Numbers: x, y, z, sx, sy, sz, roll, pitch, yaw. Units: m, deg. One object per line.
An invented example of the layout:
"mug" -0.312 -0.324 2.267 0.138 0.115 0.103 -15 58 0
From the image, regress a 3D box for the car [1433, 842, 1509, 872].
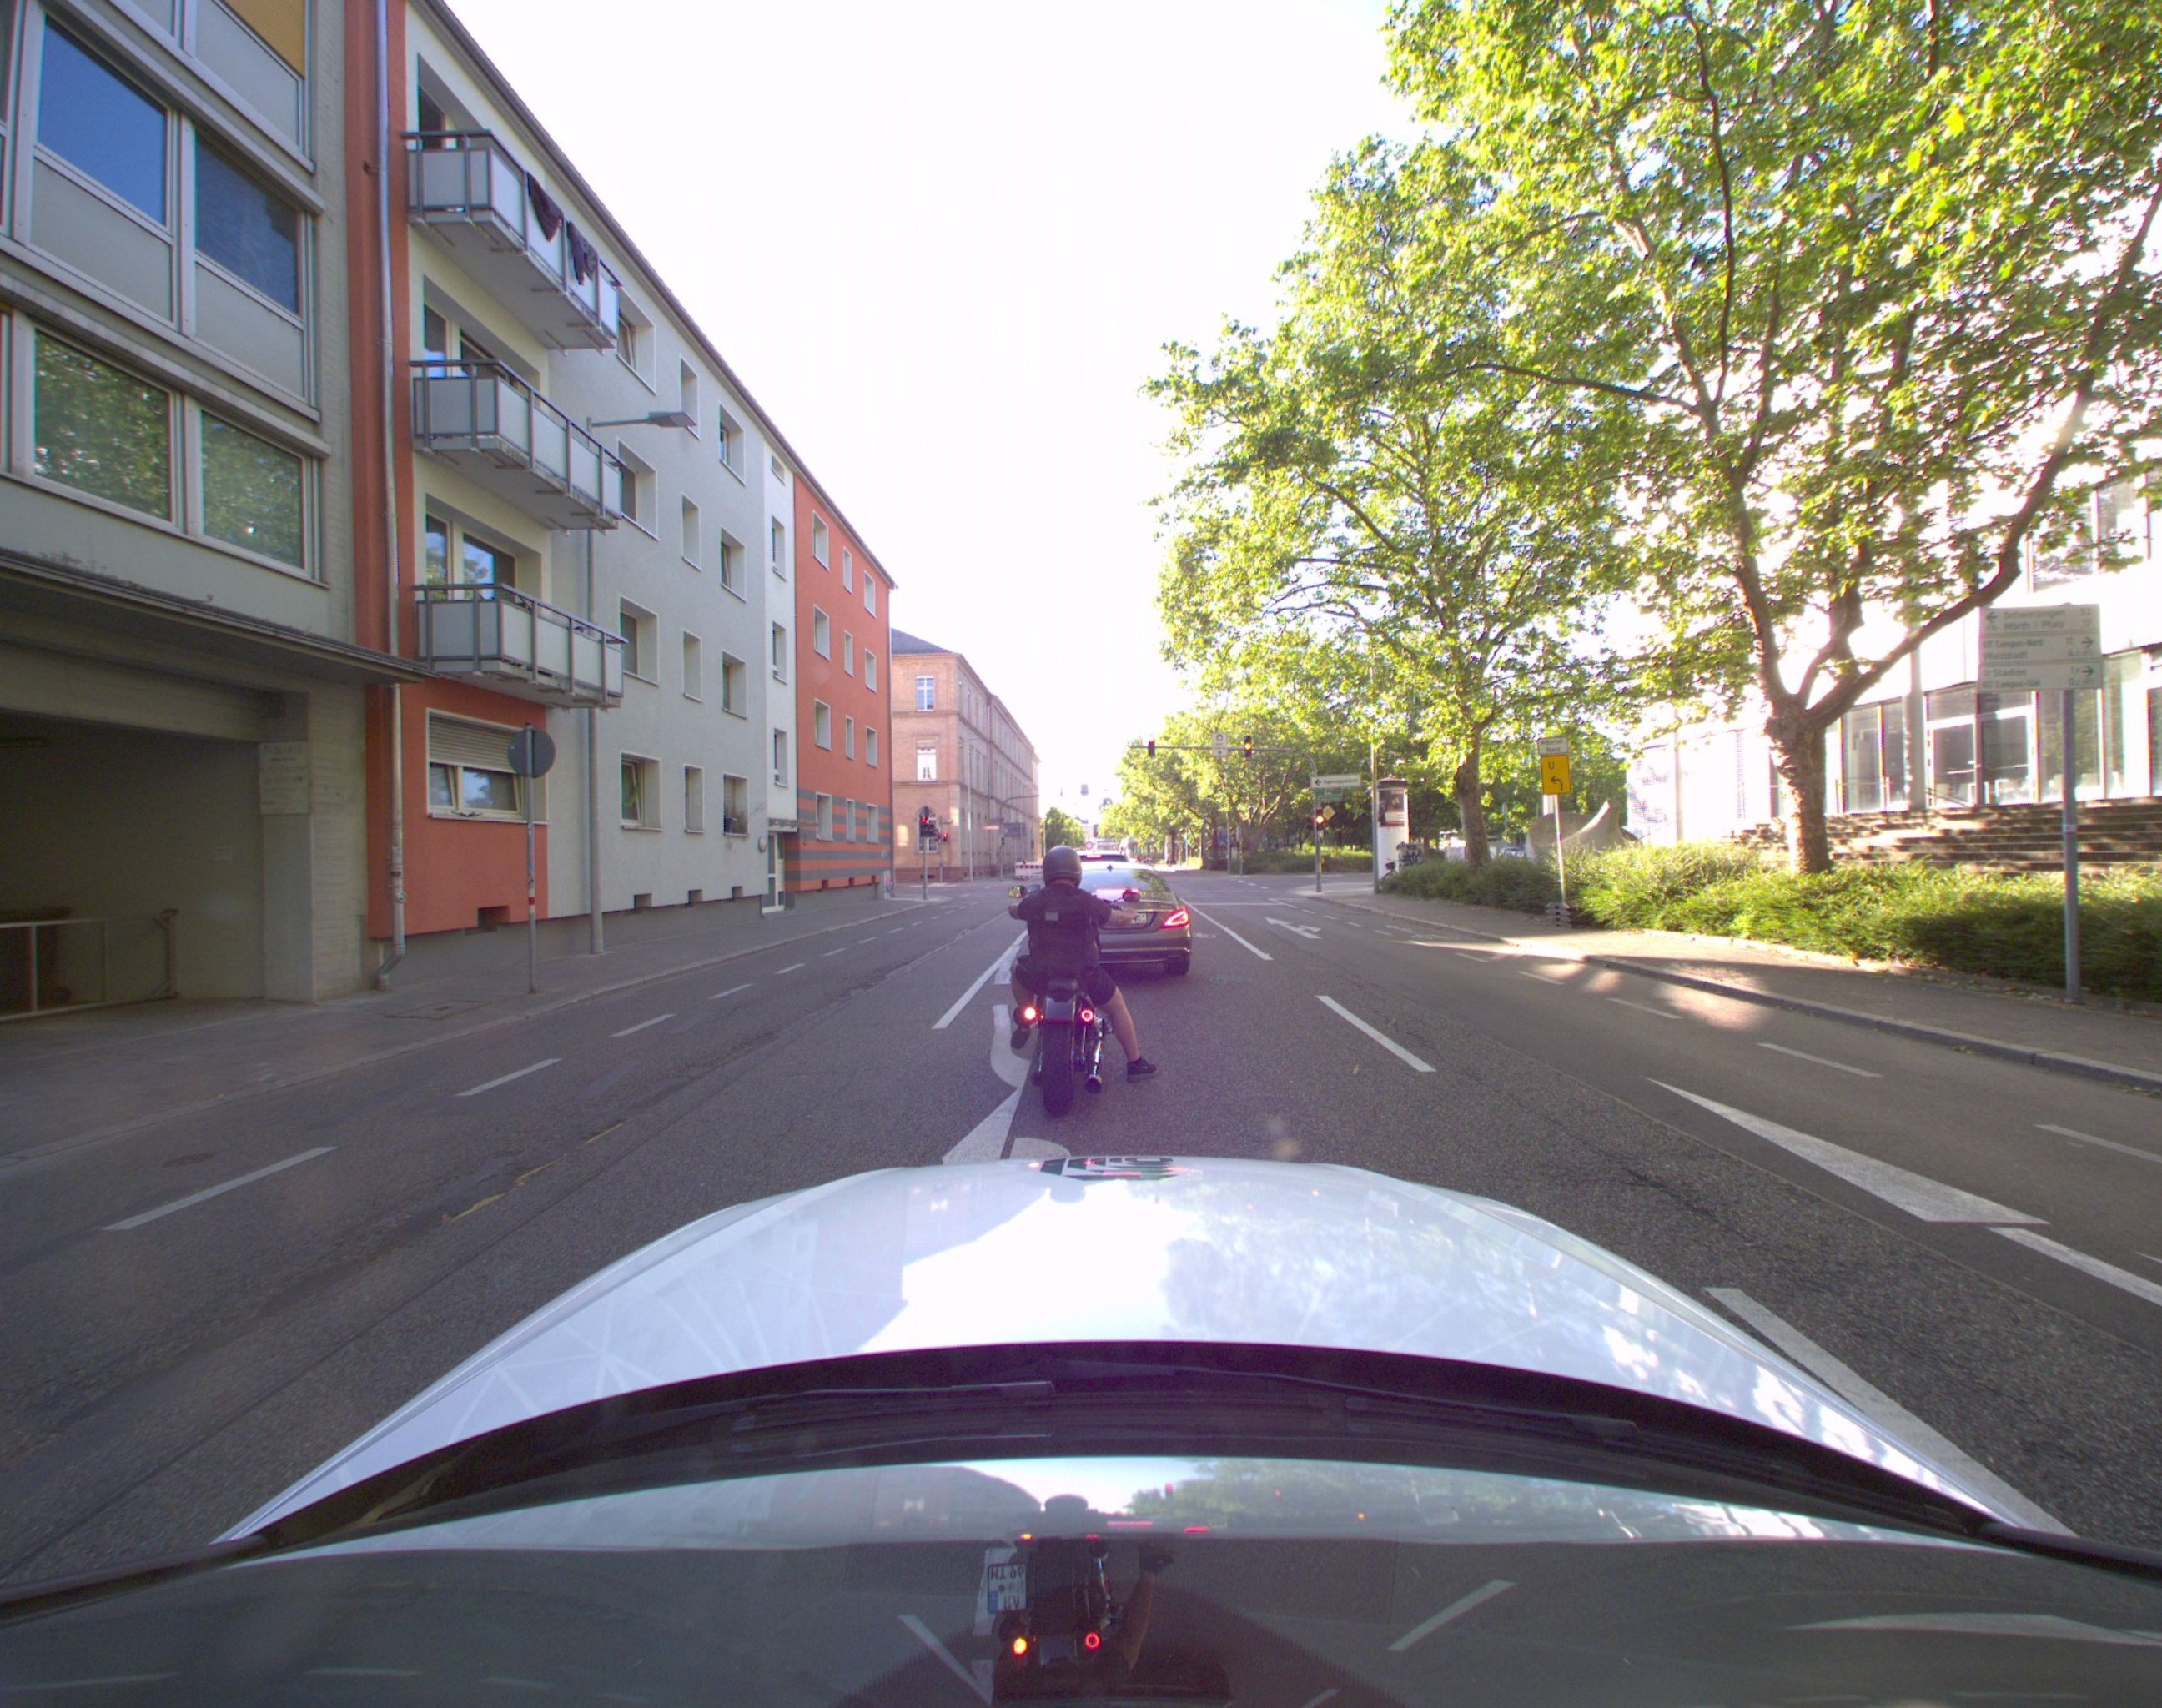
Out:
"car" 24.634 0.200 51.529 3.974 1.772 1.738 -1 0 -1

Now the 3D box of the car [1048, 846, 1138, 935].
"car" 0.291 0.691 17.101 1.645 1.652 4.002 0 -1 2

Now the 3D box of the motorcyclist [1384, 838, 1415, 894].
"motorcyclist" 10.773 0.391 27.574 0.818 1.863 0.673 -1 -1 7

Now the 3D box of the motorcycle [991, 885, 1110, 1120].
"motorcycle" -0.137 0.863 5.547 0.657 1.240 2.058 0 -1 2

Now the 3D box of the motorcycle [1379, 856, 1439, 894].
"motorcycle" 11.076 0.710 27.550 1.771 1.243 0.724 0 -1 7

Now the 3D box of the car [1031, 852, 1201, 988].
"car" 0.266 0.746 11.250 1.821 1.486 4.325 0 0 -5
